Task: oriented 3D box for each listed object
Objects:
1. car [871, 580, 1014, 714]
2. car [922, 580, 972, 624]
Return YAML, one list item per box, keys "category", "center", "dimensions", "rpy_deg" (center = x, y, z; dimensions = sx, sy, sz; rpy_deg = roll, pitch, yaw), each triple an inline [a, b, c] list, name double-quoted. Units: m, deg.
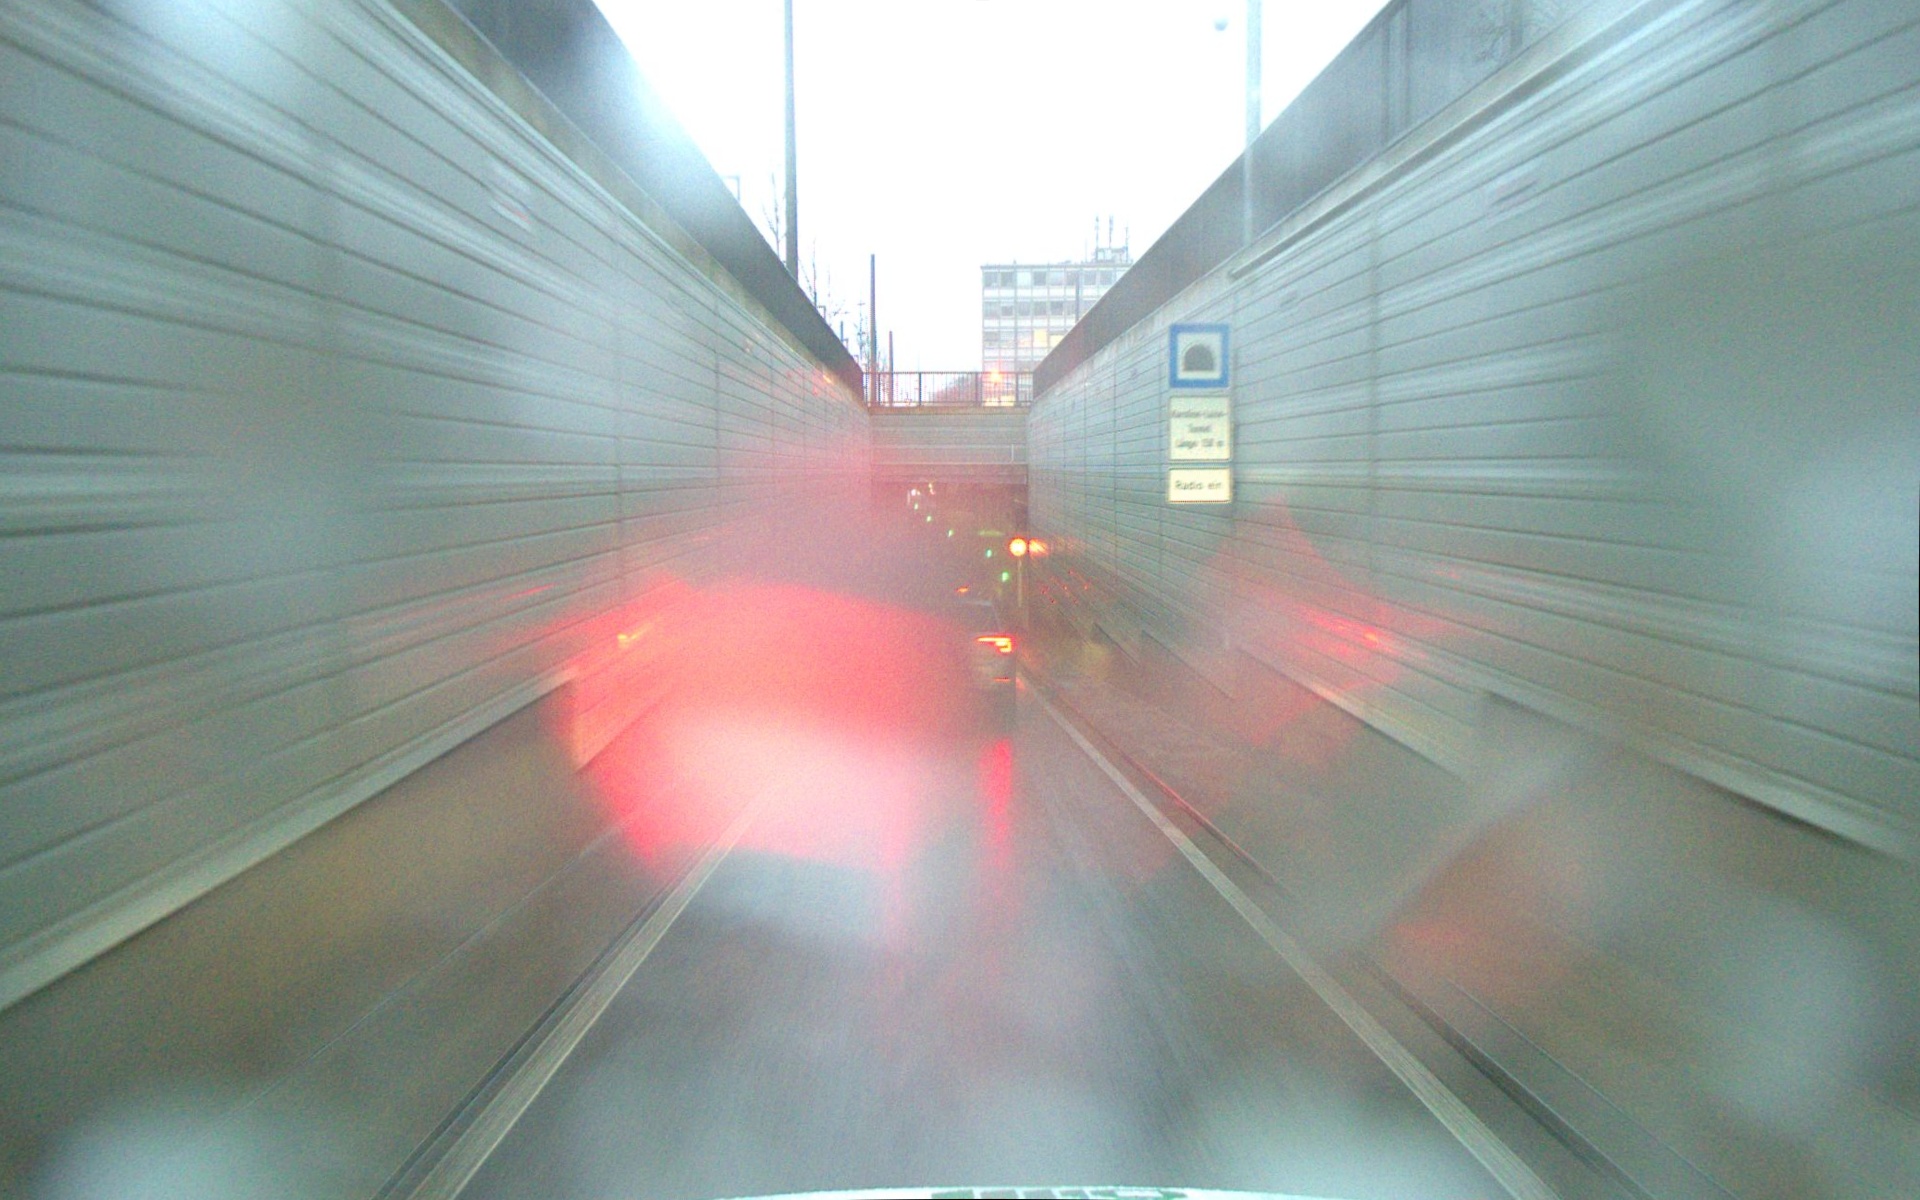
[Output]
- category: "car"
  center: [-0.183, 0.539, 21.754]
  dimensions: [1.687, 1.505, 4.001]
  rpy_deg: [1, 1, 1]
- category: "car"
  center: [-0.566, 0.046, 67.580]
  dimensions: [1.881, 1.511, 4.000]
  rpy_deg: [1, 4, -2]
